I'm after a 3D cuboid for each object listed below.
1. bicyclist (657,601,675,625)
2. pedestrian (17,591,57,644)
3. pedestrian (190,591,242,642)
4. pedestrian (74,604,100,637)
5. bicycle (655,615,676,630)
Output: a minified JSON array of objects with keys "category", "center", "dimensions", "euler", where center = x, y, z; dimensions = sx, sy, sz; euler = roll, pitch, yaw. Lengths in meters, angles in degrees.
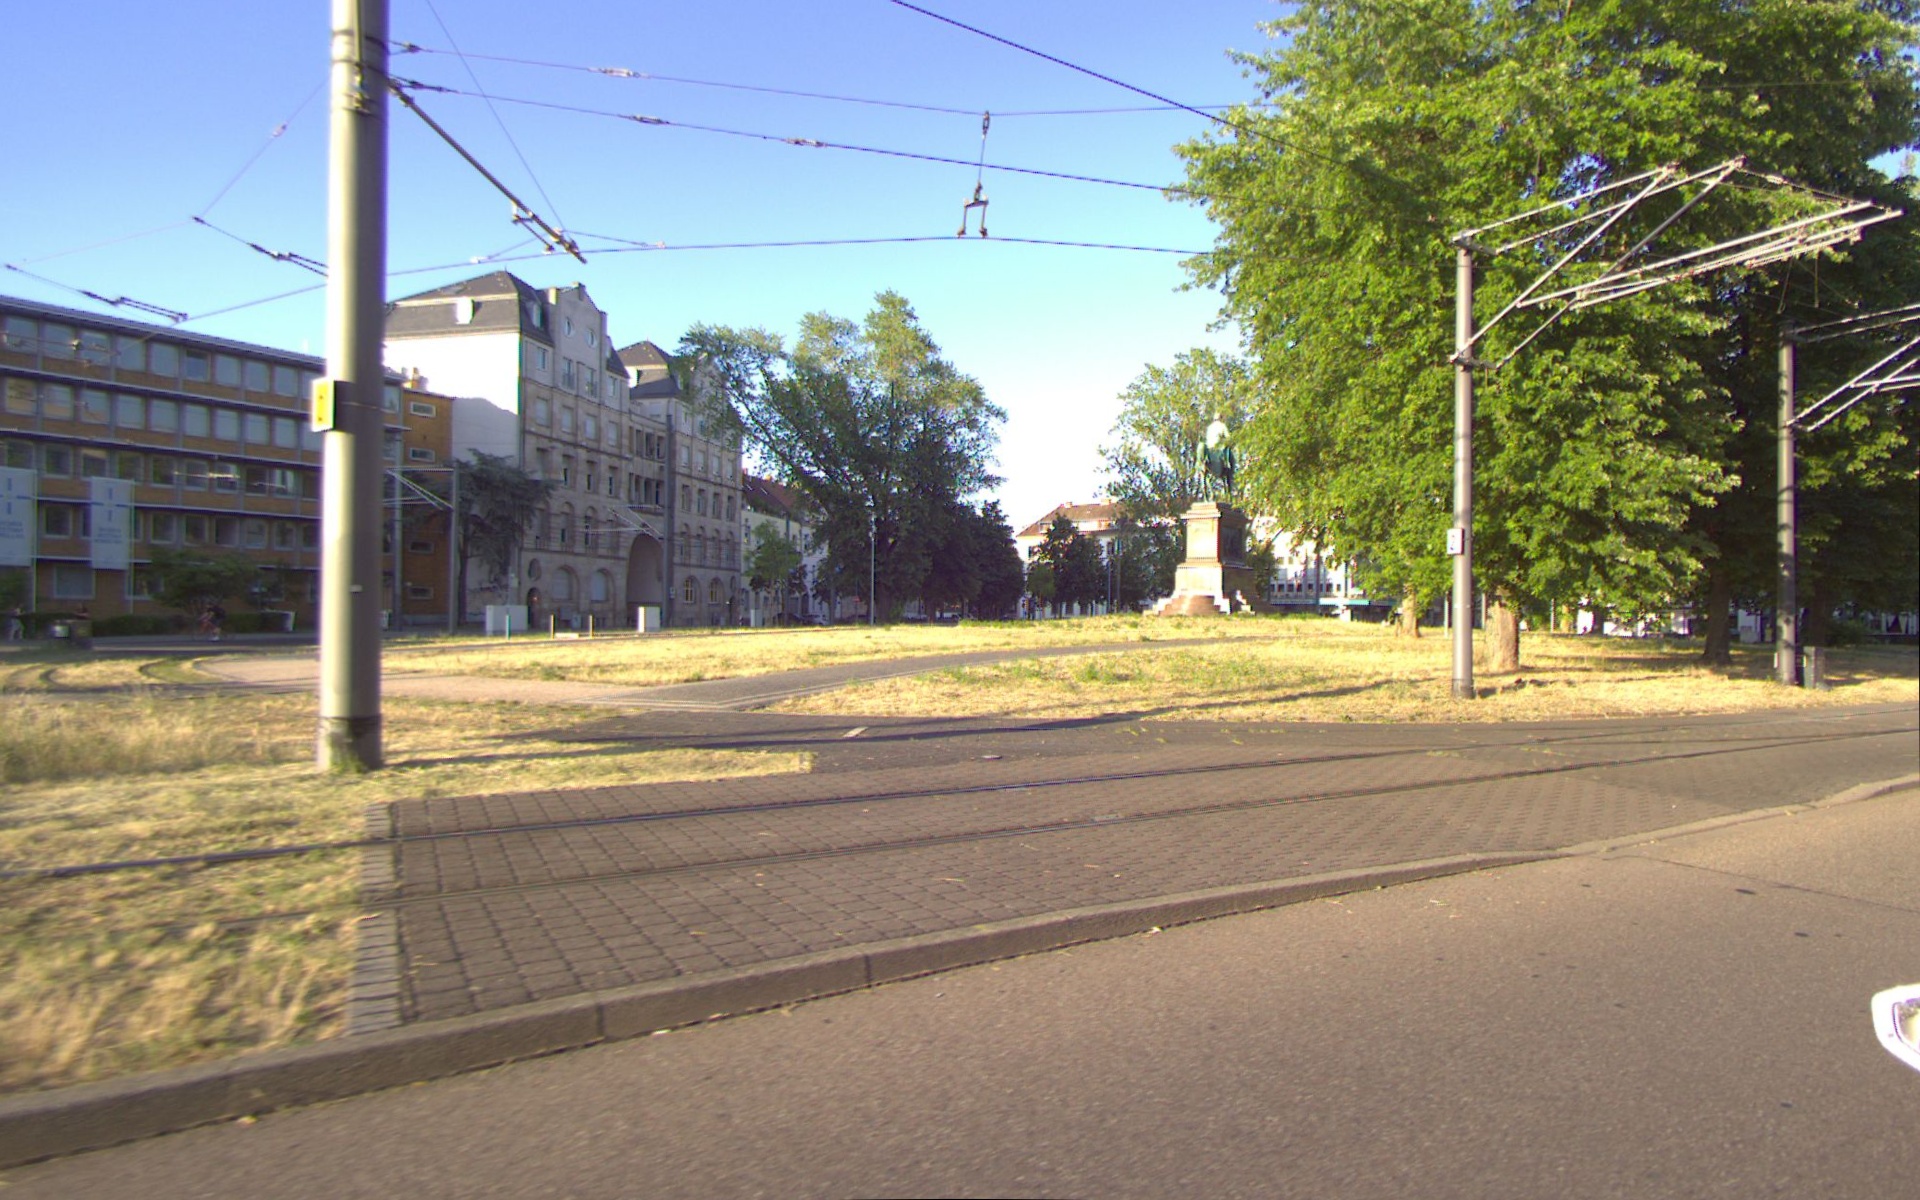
[{"category":"bicyclist","center":[-21.463,0.923,73.386],"dimensions":[0.934,1.713,0.898],"euler":[1,1,15]},{"category":"pedestrian","center":[-37.729,0.704,41.070],"dimensions":[0.834,2.040,0.943],"euler":[6,3,29]},{"category":"pedestrian","center":[-31.620,0.683,42.697],"dimensions":[1.044,2.122,1.625],"euler":[2,1,42]},{"category":"pedestrian","center":[-36.377,0.852,41.844],"dimensions":[0.557,1.342,0.682],"euler":[1,1,32]},{"category":"bicycle","center":[-21.477,1.659,73.314],"dimensions":[0.463,1.024,2.202],"euler":[1,0,14]}]
